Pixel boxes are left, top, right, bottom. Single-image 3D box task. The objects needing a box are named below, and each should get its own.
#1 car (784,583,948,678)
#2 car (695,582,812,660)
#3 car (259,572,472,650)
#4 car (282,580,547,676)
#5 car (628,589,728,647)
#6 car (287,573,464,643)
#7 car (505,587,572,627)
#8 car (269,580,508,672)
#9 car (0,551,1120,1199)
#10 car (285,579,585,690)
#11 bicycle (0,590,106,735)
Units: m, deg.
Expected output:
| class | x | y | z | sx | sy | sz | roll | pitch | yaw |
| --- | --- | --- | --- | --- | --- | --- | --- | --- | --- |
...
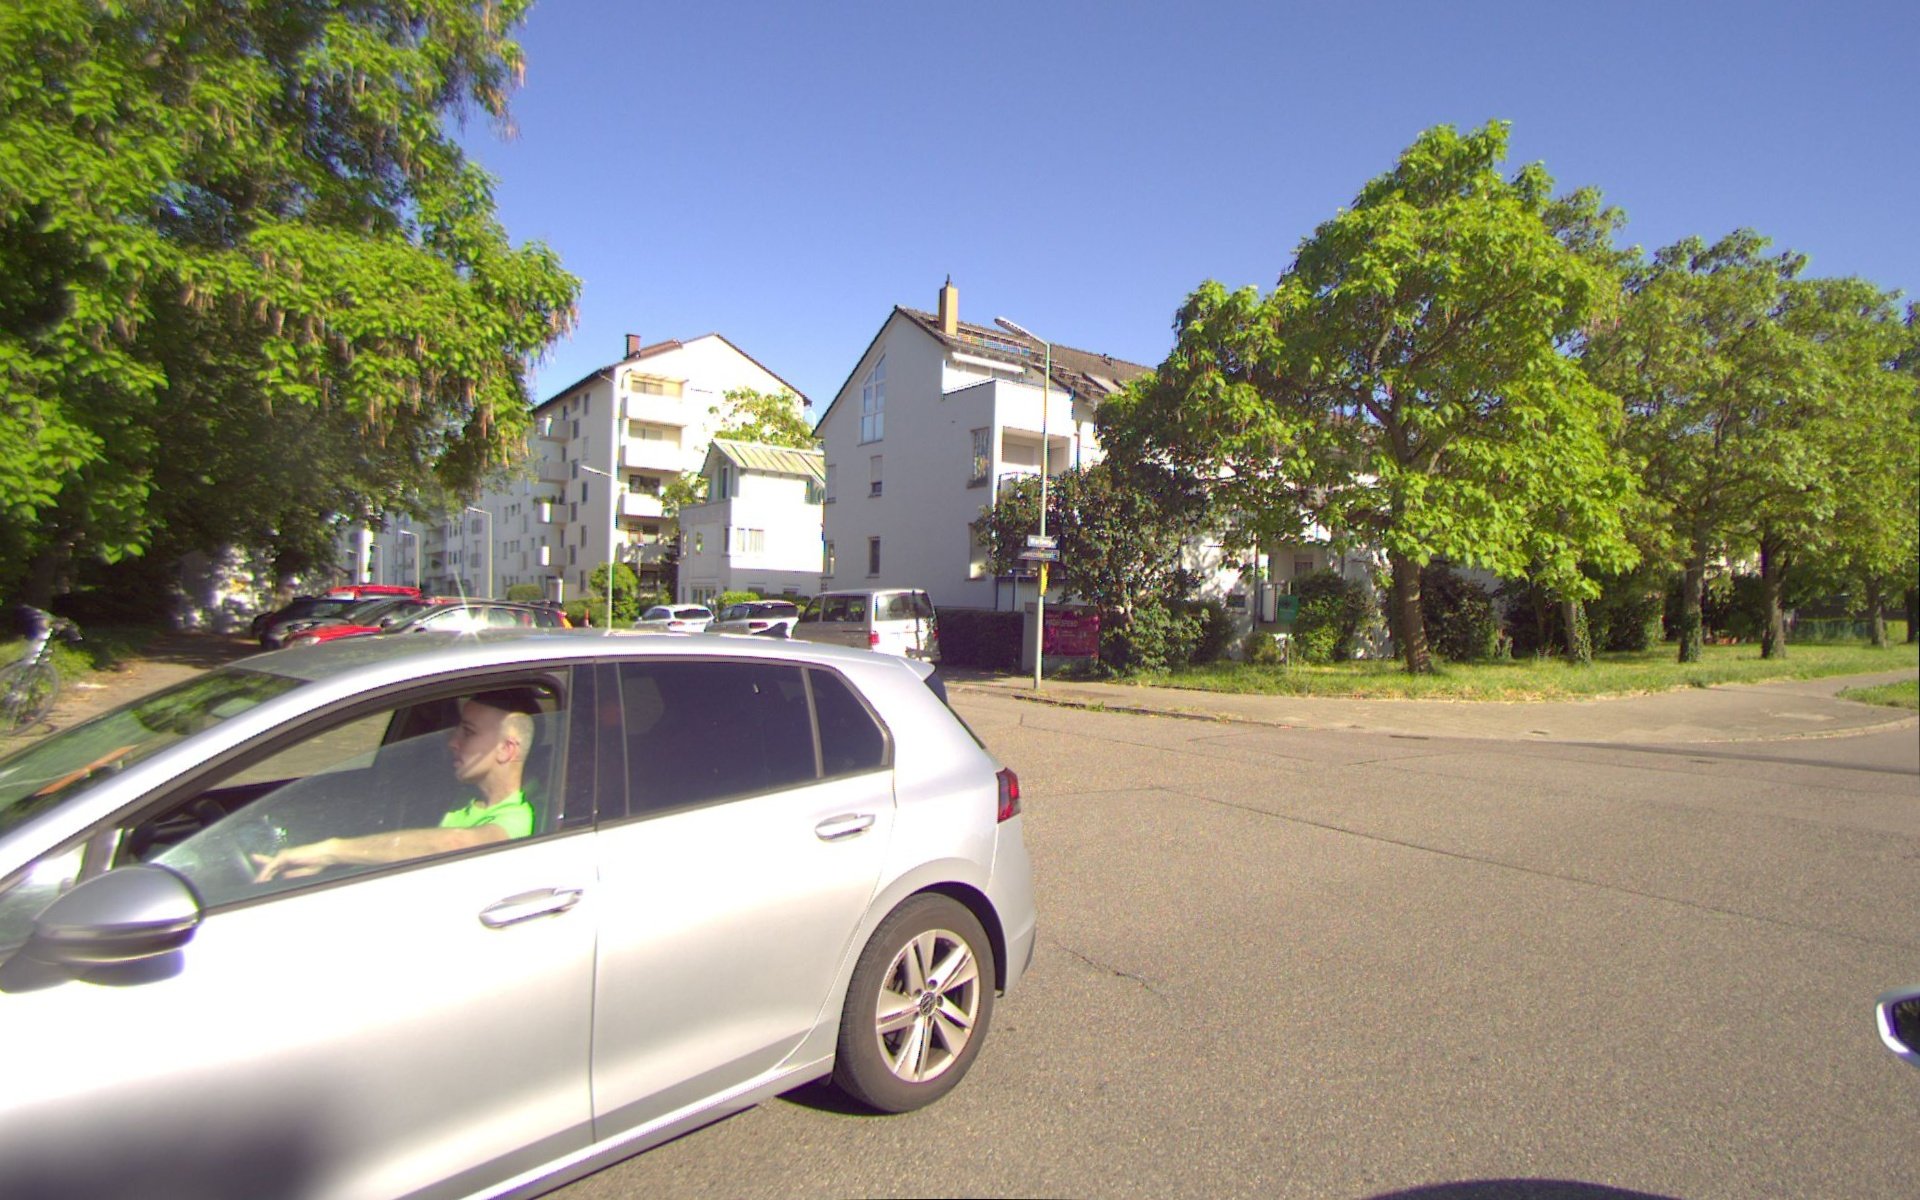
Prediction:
| class | x | y | z | sx | sy | sz | roll | pitch | yaw |
| --- | --- | --- | --- | --- | --- | --- | --- | --- | --- |
| car | -2.319 | 0.646 | 23.561 | 2.046 | 1.995 | 4.425 | 0 | 0 | -33 |
| car | -5.857 | 0.551 | 28.160 | 1.916 | 2.025 | 3.964 | 1 | 0 | -33 |
| car | -13.052 | 0.272 | 22.148 | 3.851 | 1.506 | 1.657 | 3 | -1 | -38 |
| car | -9.520 | 0.520 | 17.651 | 3.851 | 1.506 | 1.657 | 3 | -1 | -38 |
| car | -9.489 | 0.565 | 33.617 | 1.904 | 1.806 | 4.053 | 1 | 0 | -37 |
| car | -17.222 | 0.270 | 29.705 | 4.316 | 1.831 | 1.657 | 3 | -1 | -38 |
| car | -19.668 | 0.308 | 46.783 | 1.981 | 1.806 | 3.958 | 1 | 0 | -37 |
| car | -11.150 | 0.535 | 19.709 | 3.851 | 1.624 | 1.657 | 3 | -1 | -38 |
| car | -1.471 | 0.716 | 2.744 | 1.645 | 1.486 | 4.163 | -1 | -3 | 45 |
| car | -8.060 | 0.555 | 15.577 | 3.851 | 1.506 | 1.657 | 3 | -1 | -38 |
| bicycle | -8.320 | 0.499 | 8.840 | 0.750 | 1.167 | 1.893 | 1 | 0 | -26 |
